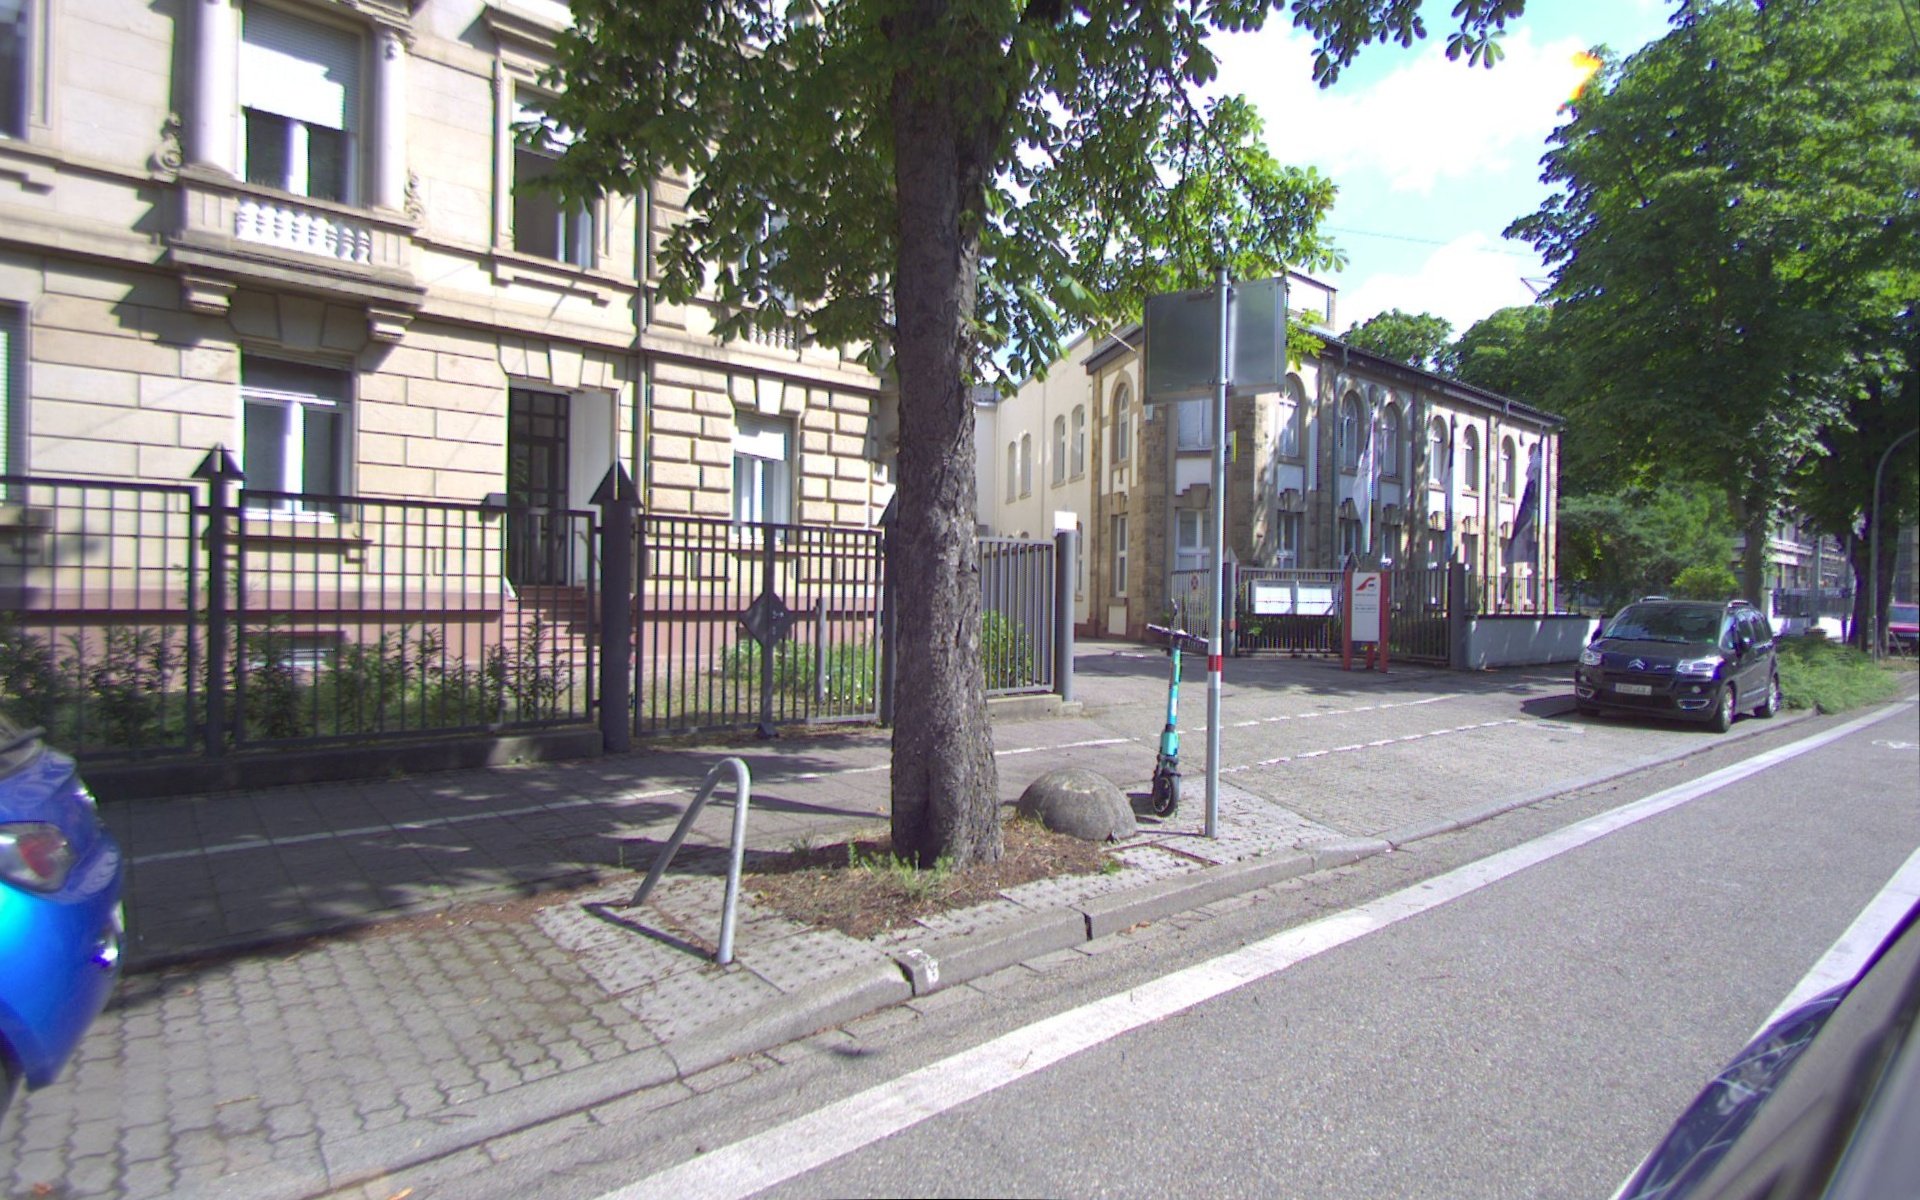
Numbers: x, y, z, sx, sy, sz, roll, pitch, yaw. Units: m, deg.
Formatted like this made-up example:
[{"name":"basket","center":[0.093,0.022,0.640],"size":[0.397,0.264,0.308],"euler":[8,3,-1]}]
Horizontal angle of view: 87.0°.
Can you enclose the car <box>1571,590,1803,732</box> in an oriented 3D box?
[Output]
[{"name":"car","center":[10.136,0.709,14.000],"size":[4.130,1.610,1.700],"euler":[0,3,-42]}]

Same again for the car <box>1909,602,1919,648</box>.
[{"name":"car","center":[32.671,0.860,33.468],"size":[3.536,1.445,1.603],"euler":[0,4,-43]}]

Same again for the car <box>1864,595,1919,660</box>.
[{"name":"car","center":[27.207,0.748,28.714],"size":[4.209,1.697,1.879],"euler":[0,3,-43]}]

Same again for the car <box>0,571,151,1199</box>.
[{"name":"car","center":[-3.914,0.690,1.977],"size":[3.564,1.514,1.642],"euler":[0,2,-42]}]

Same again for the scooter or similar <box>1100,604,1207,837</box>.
[{"name":"scooter or similar","center":[1.276,0.705,6.529],"size":[0.436,1.315,1.175],"euler":[4,1,19]}]

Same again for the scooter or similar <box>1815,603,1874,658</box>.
[{"name":"scooter or similar","center":[20.699,0.716,23.686],"size":[1.233,1.252,0.343],"euler":[2,3,-16]}]
